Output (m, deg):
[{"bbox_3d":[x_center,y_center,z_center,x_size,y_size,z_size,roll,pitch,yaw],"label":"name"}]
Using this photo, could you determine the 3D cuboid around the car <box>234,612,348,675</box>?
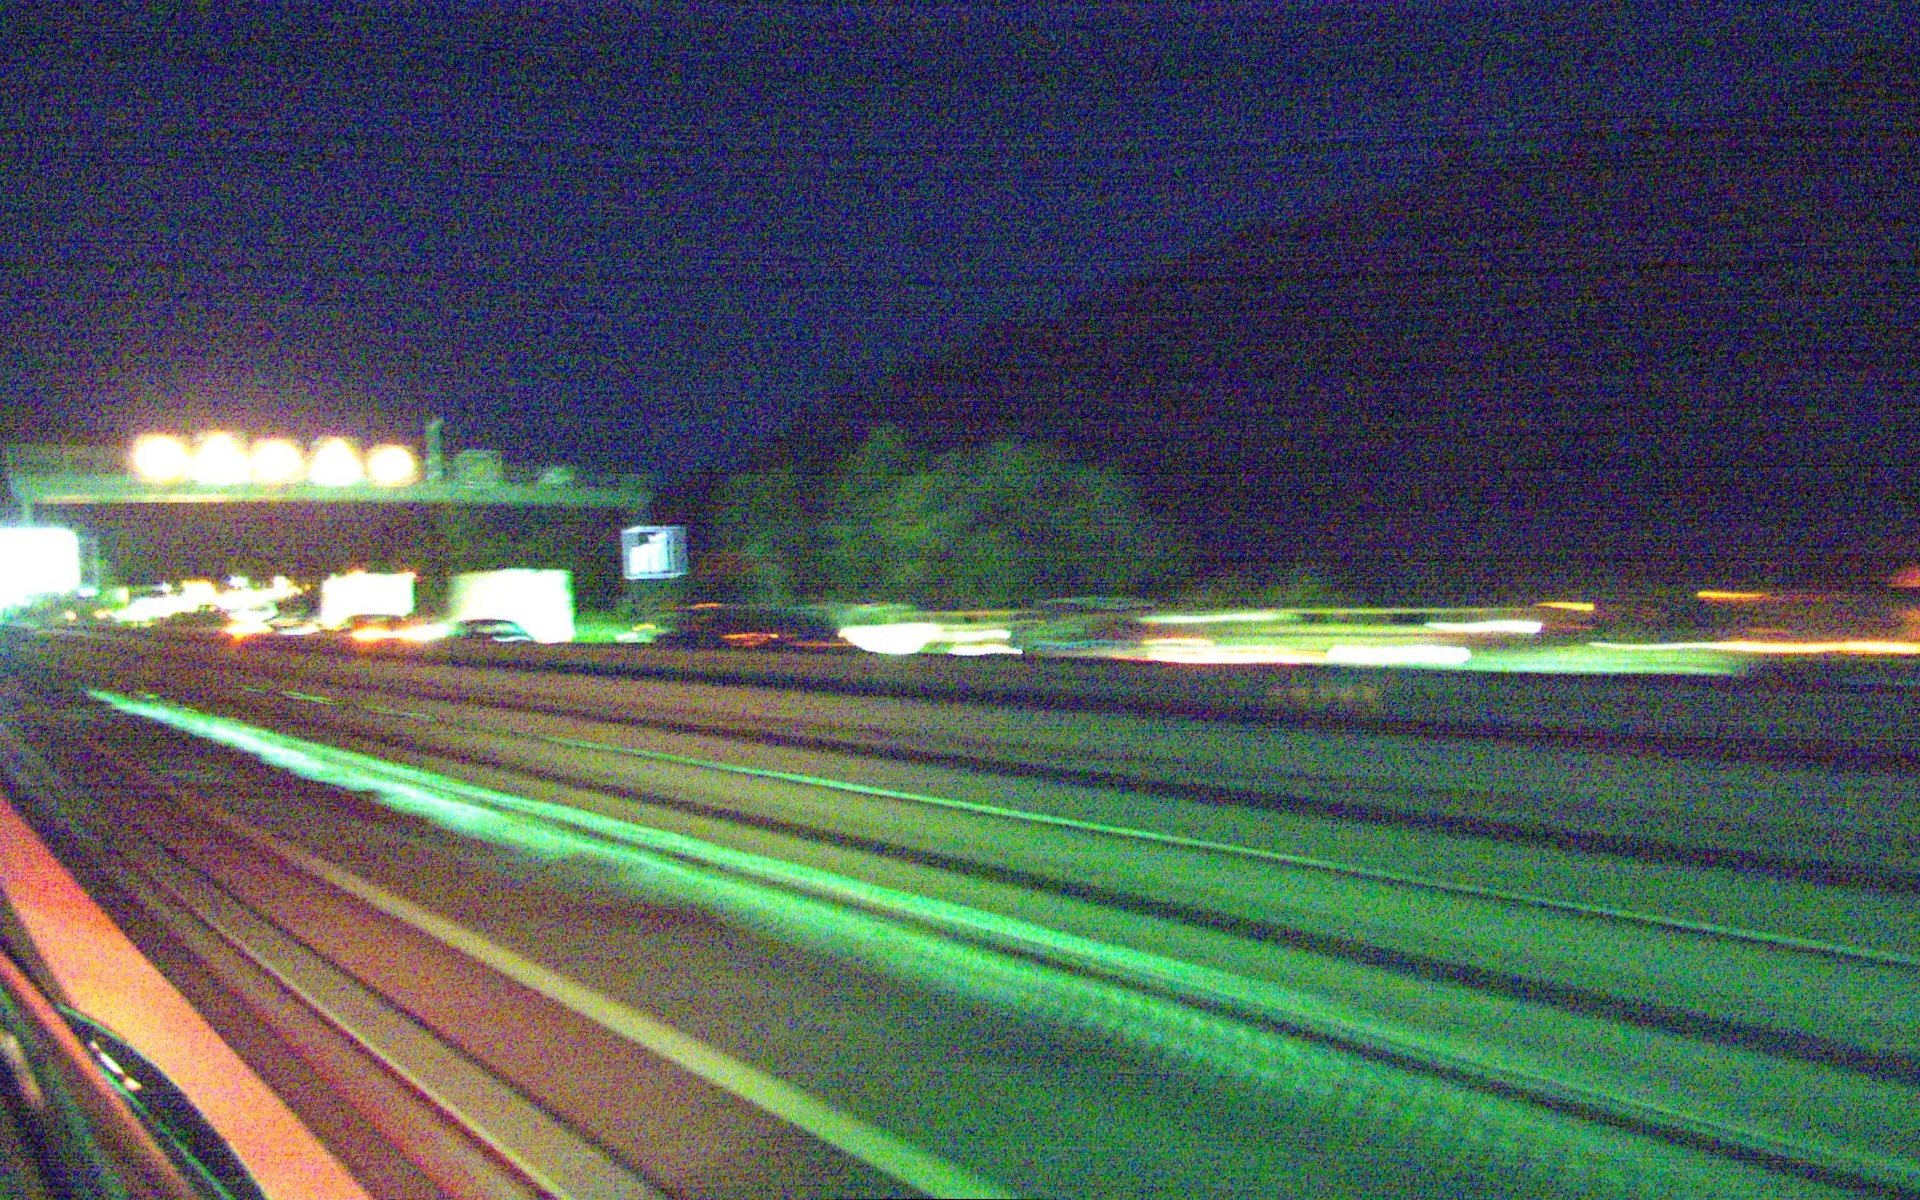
[{"bbox_3d":[-14.543,0.899,21.951,3.129,1.266,1.402,-1,-1,43],"label":"car"}]

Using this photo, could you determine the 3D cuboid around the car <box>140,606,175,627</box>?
[{"bbox_3d":[-60.459,1.250,76.231,1.727,1.463,3.845,2,0,-43],"label":"car"}]

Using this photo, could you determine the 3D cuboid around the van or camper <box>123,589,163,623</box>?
[{"bbox_3d":[-67.565,0.464,83.649,2.227,2.614,6.695,2,-1,-42],"label":"van or camper"}]

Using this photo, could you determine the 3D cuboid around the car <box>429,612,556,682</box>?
[{"bbox_3d":[-10.824,1.021,23.345,1.679,1.474,3.485,0,-1,-43],"label":"car"}]

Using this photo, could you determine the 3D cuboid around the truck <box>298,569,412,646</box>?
[{"bbox_3d":[-28.220,0.312,47.048,7.722,3.285,2.350,1,-1,42],"label":"truck"}]

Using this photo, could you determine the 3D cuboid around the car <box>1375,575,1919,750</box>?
[{"bbox_3d":[7.853,0.630,12.075,5.073,1.689,1.867,-1,-1,39],"label":"car"}]

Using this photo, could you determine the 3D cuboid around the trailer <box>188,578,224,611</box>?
[{"bbox_3d":[-105.959,-0.840,142.348,3.389,4.273,12.866,1,0,-34],"label":"trailer"}]

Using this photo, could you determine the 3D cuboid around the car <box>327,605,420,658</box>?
[{"bbox_3d":[-18.757,0.971,32.284,1.622,1.551,4.003,1,0,-45],"label":"car"}]

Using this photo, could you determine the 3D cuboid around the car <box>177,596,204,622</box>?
[{"bbox_3d":[-75.150,0.873,98.854,1.811,2.388,5.456,1,0,-40],"label":"car"}]

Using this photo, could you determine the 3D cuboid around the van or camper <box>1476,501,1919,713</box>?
[{"bbox_3d":[11.380,0.116,14.719,6.613,2.676,1.973,-1,-1,41],"label":"van or camper"}]

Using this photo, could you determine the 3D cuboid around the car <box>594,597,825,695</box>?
[{"bbox_3d":[-4.609,0.744,18.111,4.857,1.542,1.688,-1,-1,44],"label":"car"}]

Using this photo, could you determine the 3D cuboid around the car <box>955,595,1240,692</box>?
[{"bbox_3d":[2.168,0.728,16.706,4.345,1.398,1.878,-2,-4,40],"label":"car"}]

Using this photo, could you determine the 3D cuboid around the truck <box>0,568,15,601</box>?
[{"bbox_3d":[-117.114,-1.911,122.996,2.856,4.001,4.008,-1,2,-39],"label":"truck"}]

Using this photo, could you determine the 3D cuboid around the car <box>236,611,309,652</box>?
[{"bbox_3d":[-27.026,1.201,39.727,1.622,1.494,4.366,1,0,-45],"label":"car"}]

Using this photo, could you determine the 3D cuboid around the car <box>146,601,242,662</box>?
[{"bbox_3d":[-24.198,0.944,31.911,1.786,1.754,4.871,1,0,-45],"label":"car"}]

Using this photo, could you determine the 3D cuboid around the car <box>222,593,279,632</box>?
[{"bbox_3d":[-43.480,0.776,62.024,2.106,2.285,4.567,2,-1,-44],"label":"car"}]

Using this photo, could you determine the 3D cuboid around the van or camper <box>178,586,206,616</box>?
[{"bbox_3d":[-88.271,0.090,116.290,2.241,3.404,5.704,1,0,-40],"label":"van or camper"}]

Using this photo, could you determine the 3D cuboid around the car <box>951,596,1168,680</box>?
[{"bbox_3d":[2.156,0.771,22.871,4.734,1.666,1.791,1,1,41],"label":"car"}]

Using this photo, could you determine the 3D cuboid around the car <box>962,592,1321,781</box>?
[{"bbox_3d":[2.136,0.894,12.550,4.109,1.864,1.660,1,4,40],"label":"car"}]

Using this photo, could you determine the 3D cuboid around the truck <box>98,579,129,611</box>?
[{"bbox_3d":[-100.166,-0.653,119.811,2.621,3.618,8.565,-2,2,-39],"label":"truck"}]

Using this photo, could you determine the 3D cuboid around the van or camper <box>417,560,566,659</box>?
[{"bbox_3d":[-15.989,0.320,34.265,7.126,3.026,2.197,-1,-1,44],"label":"van or camper"}]

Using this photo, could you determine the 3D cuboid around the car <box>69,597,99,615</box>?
[{"bbox_3d":[-75.896,0.547,87.704,1.810,1.462,4.514,1,0,-39],"label":"car"}]

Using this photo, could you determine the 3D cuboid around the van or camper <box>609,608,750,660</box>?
[{"bbox_3d":[-9.385,1.065,33.560,5.218,1.561,2.197,-1,-1,44],"label":"van or camper"}]

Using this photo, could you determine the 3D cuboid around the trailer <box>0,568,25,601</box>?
[{"bbox_3d":[-121.892,-2.035,128.970,2.797,4.004,15.795,-1,2,-39],"label":"trailer"}]

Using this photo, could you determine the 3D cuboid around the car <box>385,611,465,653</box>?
[{"bbox_3d":[-21.501,1.243,40.576,1.622,1.551,4.441,1,0,-45],"label":"car"}]

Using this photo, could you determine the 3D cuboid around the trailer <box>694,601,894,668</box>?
[{"bbox_3d":[-4.977,0.926,29.550,6.543,1.739,2.232,0,-1,43],"label":"trailer"}]

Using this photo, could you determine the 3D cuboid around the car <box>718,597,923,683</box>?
[{"bbox_3d":[-3.202,0.812,22.655,4.734,1.666,1.907,1,1,41],"label":"car"}]

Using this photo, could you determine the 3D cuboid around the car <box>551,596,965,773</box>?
[{"bbox_3d":[-2.371,0.725,10.916,4.867,1.503,1.883,0,0,42],"label":"car"}]

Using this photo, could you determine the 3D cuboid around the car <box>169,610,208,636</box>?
[{"bbox_3d":[-48.599,1.436,63.730,1.586,1.490,4.079,2,-1,-42],"label":"car"}]

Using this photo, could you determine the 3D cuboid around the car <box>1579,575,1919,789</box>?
[{"bbox_3d":[7.502,0.624,7.940,4.343,1.535,1.879,1,-2,38],"label":"car"}]

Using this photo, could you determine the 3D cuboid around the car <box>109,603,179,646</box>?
[{"bbox_3d":[-31.527,0.913,39.061,4.002,1.578,1.661,0,-1,45],"label":"car"}]

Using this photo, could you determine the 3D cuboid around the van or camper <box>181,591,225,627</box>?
[{"bbox_3d":[-62.237,0.711,83.171,2.415,2.781,6.498,1,0,-41],"label":"van or camper"}]
